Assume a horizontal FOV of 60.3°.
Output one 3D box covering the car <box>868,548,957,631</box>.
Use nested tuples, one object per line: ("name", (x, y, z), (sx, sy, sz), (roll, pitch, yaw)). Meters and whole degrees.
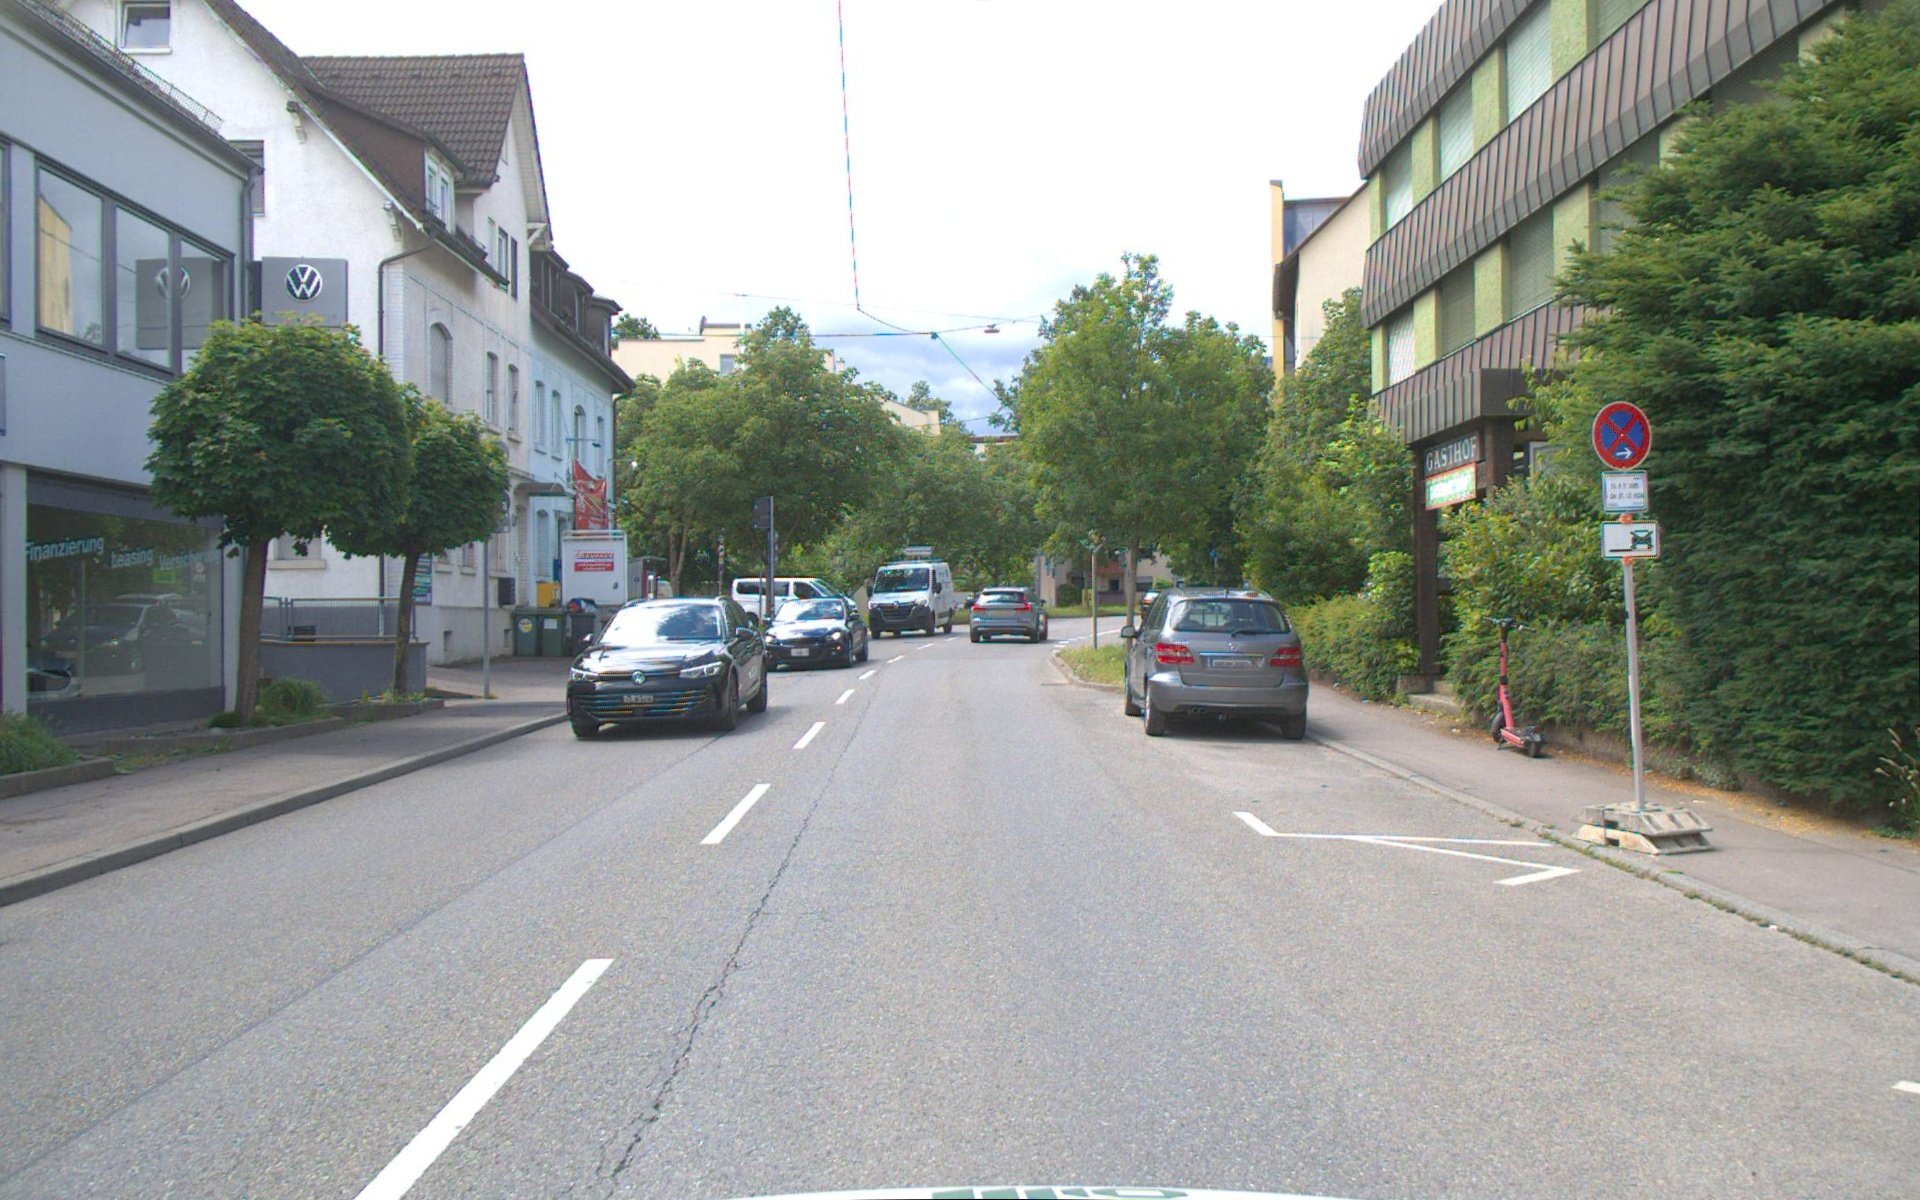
("car", (-1.436, -0.356, 52.660), (2.019, 2.394, 5.187), (-3, 1, 6))

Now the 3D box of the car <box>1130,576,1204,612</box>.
("car", (9.891, -0.287, 78.782), (1.772, 1.549, 4.318), (3, 2, 32))

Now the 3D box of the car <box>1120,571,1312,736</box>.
("car", (2.905, 0.525, 19.594), (1.655, 1.695, 4.463), (-1, 1, 1))

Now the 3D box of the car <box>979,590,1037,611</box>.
("car", (3.555, 0.028, 122.529), (3.991, 1.424, 1.796), (1, -4, 15))

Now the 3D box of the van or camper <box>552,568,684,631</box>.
("van or camper", (-11.445, 0.029, 55.617), (1.754, 2.028, 4.364), (-1, -1, 34))

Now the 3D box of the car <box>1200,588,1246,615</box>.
("car", (17.721, 0.125, 111.332), (1.769, 1.644, 4.325), (3, 0, 26))

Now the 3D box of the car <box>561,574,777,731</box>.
("car", (-3.323, 0.568, 19.727), (1.740, 1.549, 4.461), (-3, 0, -1))

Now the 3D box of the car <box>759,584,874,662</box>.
("car", (-2.875, 0.436, 33.961), (1.733, 1.450, 4.111), (-2, 0, 3))

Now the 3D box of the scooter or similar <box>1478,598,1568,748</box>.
("scooter or similar", (5.335, 0.662, 15.729), (0.294, 1.327, 1.404), (-3, 1, -1))

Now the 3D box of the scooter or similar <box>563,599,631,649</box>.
("scooter or similar", (-8.847, 0.583, 40.333), (1.522, 1.205, 0.546), (1, -1, -1))

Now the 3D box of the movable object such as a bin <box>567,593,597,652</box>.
("movable object such as a bin", (-8.467, 0.504, 37.048), (0.553, 1.295, 0.562), (2, 0, -5))

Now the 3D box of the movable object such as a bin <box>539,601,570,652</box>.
("movable object such as a bin", (-9.082, 0.587, 37.013), (0.553, 1.120, 0.562), (2, -1, -5))

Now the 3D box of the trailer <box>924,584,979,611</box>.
("trailer", (-0.649, -0.175, 123.591), (3.823, 1.830, 1.632), (1, -4, 13))

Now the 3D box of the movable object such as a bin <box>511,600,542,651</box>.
("movable object such as a bin", (-9.680, 0.572, 36.953), (0.553, 1.120, 0.562), (2, -1, -5))

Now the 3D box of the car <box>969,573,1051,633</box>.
("car", (1.417, 0.115, 45.408), (1.914, 1.550, 4.332), (1, -1, 6))

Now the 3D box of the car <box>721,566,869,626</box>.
("car", (-6.233, -0.157, 62.487), (5.102, 2.028, 2.110), (-2, 0, 17))
